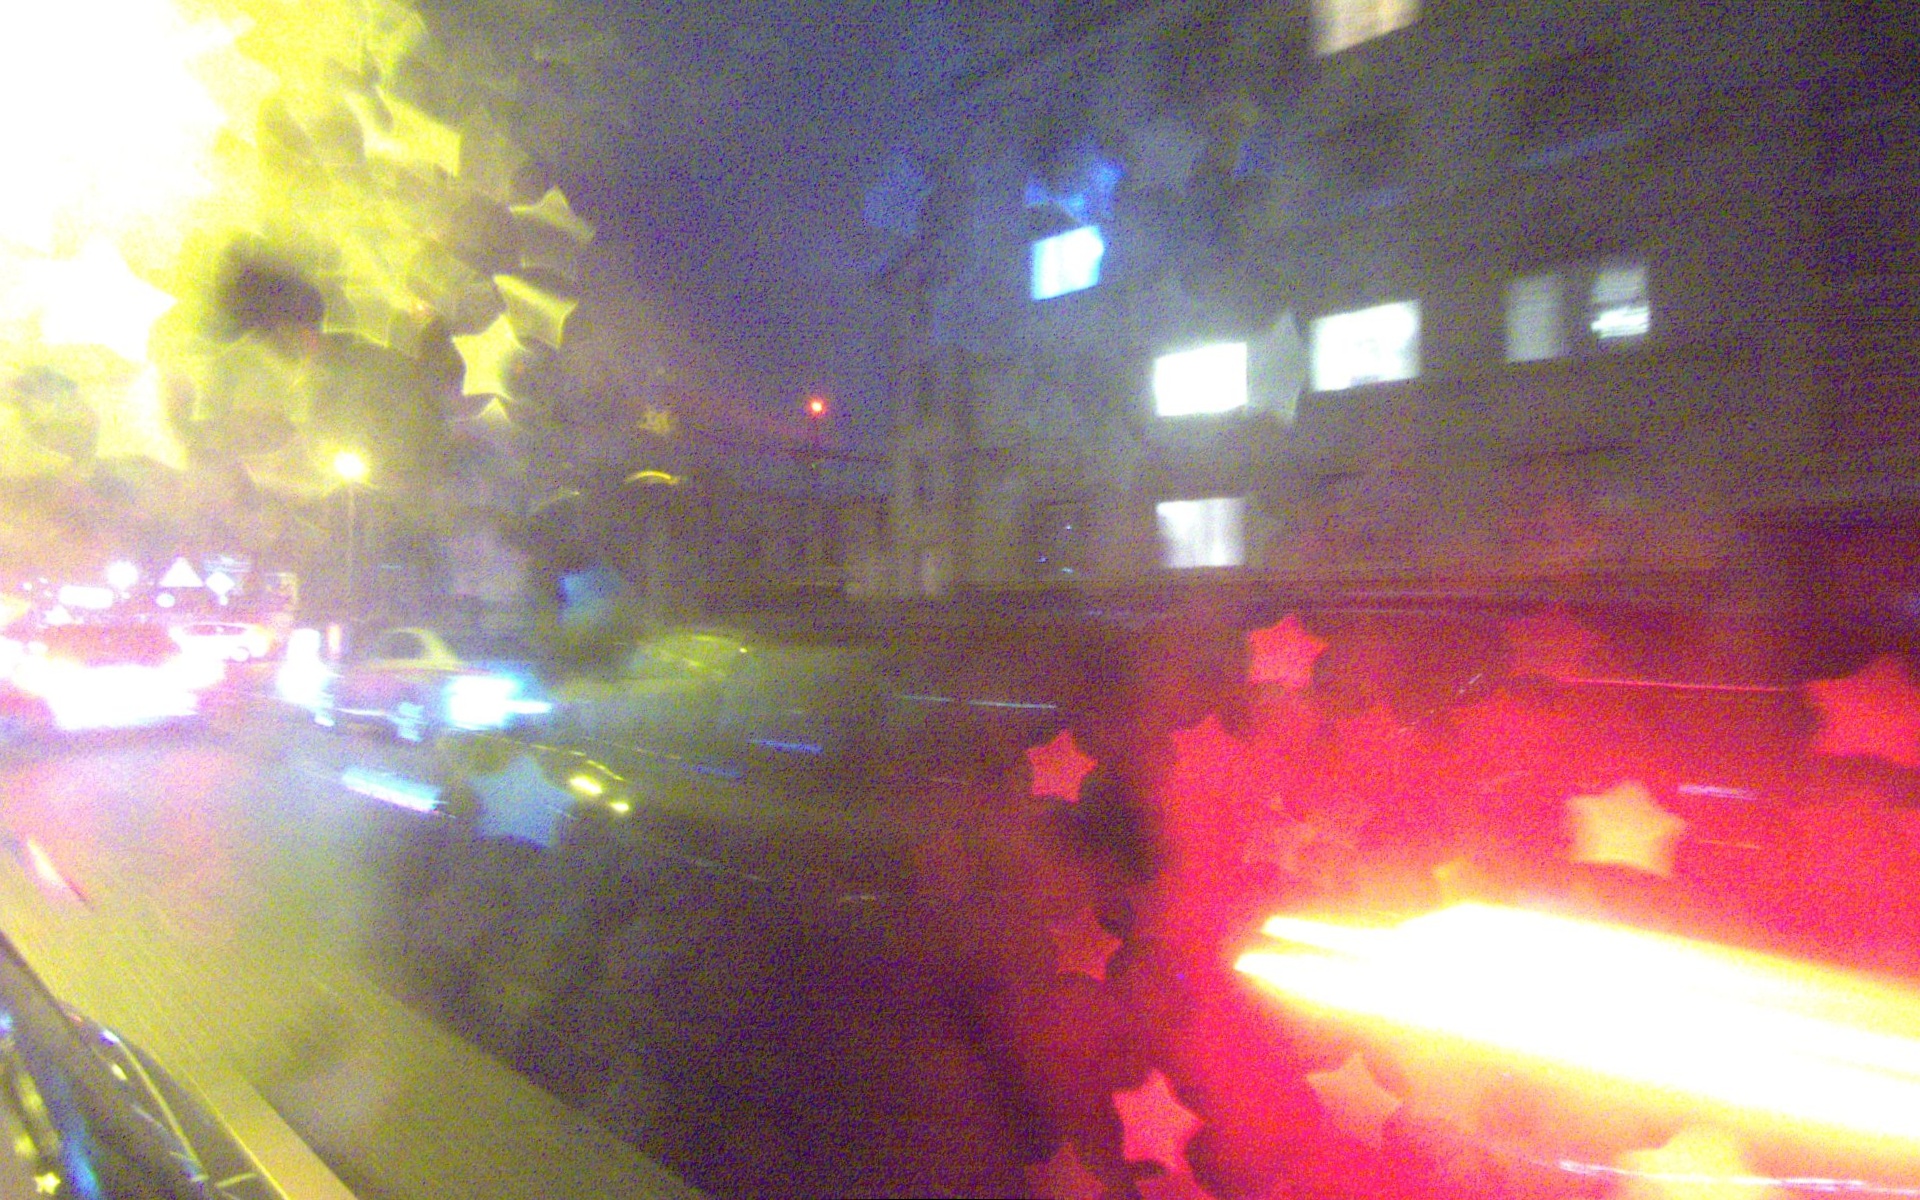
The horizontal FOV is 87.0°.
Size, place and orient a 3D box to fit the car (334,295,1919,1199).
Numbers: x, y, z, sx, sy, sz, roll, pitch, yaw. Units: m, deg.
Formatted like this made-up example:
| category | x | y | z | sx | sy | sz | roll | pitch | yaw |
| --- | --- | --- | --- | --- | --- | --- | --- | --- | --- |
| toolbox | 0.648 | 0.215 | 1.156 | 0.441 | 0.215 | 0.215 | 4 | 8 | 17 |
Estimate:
| category | x | y | z | sx | sy | sz | roll | pitch | yaw |
| --- | --- | --- | --- | --- | --- | --- | --- | --- | --- |
| car | -0.023 | 0.573 | 3.091 | 4.682 | 1.560 | 2.017 | -2 | -3 | 43 |

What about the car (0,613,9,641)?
| category | x | y | z | sx | sy | sz | roll | pitch | yaw |
| --- | --- | --- | --- | --- | --- | --- | --- | --- | --- |
| car | -52.321 | 1.467 | 54.101 | 4.548 | 1.459 | 1.824 | -2 | -3 | 43 |

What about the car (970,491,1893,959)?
| category | x | y | z | sx | sy | sz | roll | pitch | yaw |
| --- | --- | --- | --- | --- | --- | --- | --- | --- | --- |
| car | 2.093 | 0.478 | 5.315 | 3.958 | 1.585 | 1.608 | -1 | -2 | 38 |

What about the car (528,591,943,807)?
| category | x | y | z | sx | sy | sz | roll | pitch | yaw |
| --- | --- | --- | --- | --- | --- | --- | --- | --- | --- |
| car | -2.125 | 0.744 | 8.919 | 3.962 | 1.484 | 1.606 | -2 | -3 | 43 |

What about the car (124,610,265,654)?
| category | x | y | z | sx | sy | sz | roll | pitch | yaw |
| --- | --- | --- | --- | --- | --- | --- | --- | --- | --- |
| car | -31.079 | 1.317 | 41.282 | 4.472 | 1.719 | 1.855 | 1 | -2 | -35 |

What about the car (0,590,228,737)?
| category | x | y | z | sx | sy | sz | roll | pitch | yaw |
| --- | --- | --- | --- | --- | --- | --- | --- | --- | --- |
| car | -11.316 | 0.765 | 13.307 | 4.548 | 1.609 | 1.866 | -2 | -3 | 43 |

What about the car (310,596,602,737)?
| category | x | y | z | sx | sy | sz | roll | pitch | yaw |
| --- | --- | --- | --- | --- | --- | --- | --- | --- | --- |
| car | -6.493 | 0.771 | 12.811 | 4.544 | 1.484 | 1.607 | -2 | -2 | 40 |

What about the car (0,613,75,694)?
| category | x | y | z | sx | sy | sz | roll | pitch | yaw |
| --- | --- | --- | --- | --- | --- | --- | --- | --- | --- |
| car | -23.342 | 1.282 | 24.910 | 4.548 | 1.839 | 1.824 | -2 | -3 | 43 |

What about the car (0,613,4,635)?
| category | x | y | z | sx | sy | sz | roll | pitch | yaw |
| --- | --- | --- | --- | --- | --- | --- | --- | --- | --- |
| car | -66.586 | 1.655 | 68.907 | 4.548 | 1.459 | 1.824 | -2 | -3 | 43 |
